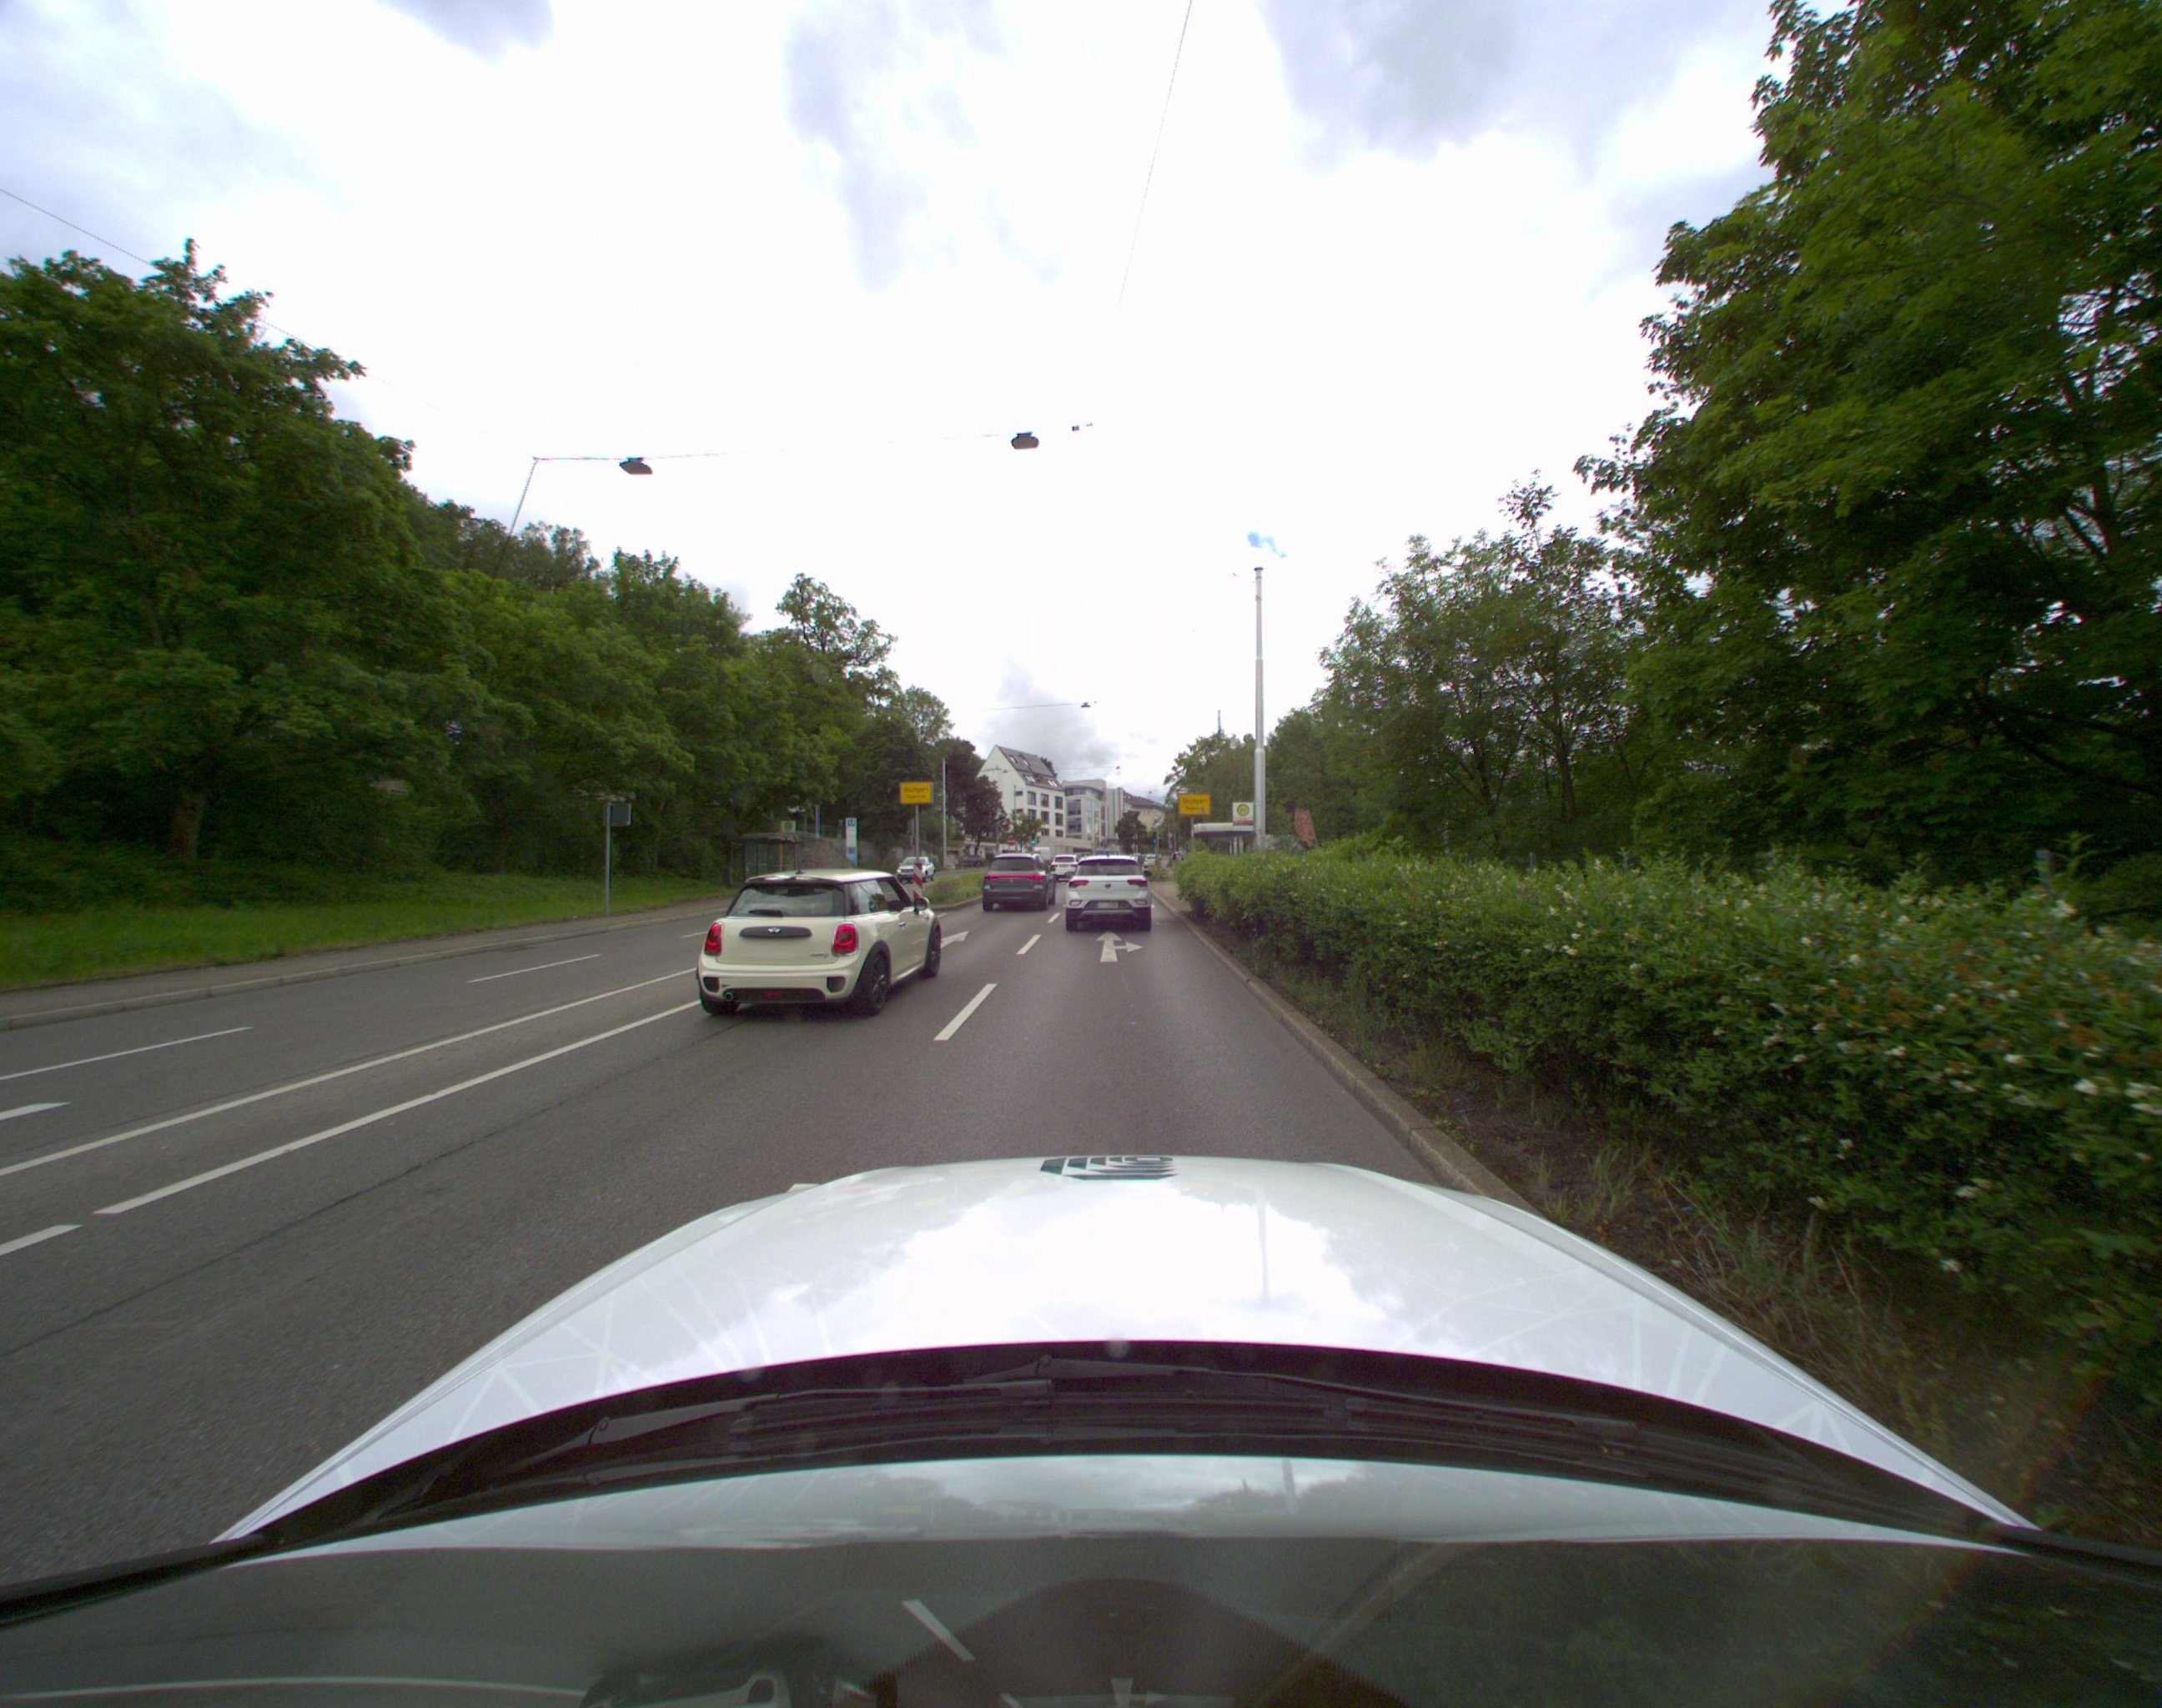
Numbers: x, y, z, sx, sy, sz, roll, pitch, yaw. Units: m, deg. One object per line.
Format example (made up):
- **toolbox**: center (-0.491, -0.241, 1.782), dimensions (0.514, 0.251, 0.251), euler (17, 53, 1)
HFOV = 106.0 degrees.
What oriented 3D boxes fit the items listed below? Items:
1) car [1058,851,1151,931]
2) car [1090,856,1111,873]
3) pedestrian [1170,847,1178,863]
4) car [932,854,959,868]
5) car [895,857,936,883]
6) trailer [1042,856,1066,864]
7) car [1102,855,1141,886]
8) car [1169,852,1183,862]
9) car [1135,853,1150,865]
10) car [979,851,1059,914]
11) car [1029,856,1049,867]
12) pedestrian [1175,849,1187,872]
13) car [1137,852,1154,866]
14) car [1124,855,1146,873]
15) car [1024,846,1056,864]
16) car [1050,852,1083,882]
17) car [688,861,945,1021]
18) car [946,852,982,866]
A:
- **car**: center (0.494, 0.735, 17.921), dimensions (1.805, 1.539, 3.690), euler (-2, 0, 1)
- **car**: center (1.804, 0.943, 76.437), dimensions (1.851, 1.500, 4.056), euler (-2, 0, 1)
- **pedestrian**: center (10.375, 0.093, 90.886), dimensions (0.695, 1.834, 0.616), euler (1, 0, -18)
- **car**: center (-15.284, 0.825, 91.897), dimensions (2.712, 1.520, 1.553), euler (2, -1, -21)
- **car**: center (-10.087, 0.961, 49.891), dimensions (1.724, 1.541, 4.041), euler (0, 0, -1)
- **trailer**: center (-4.076, 0.974, 125.317), dimensions (2.228, 1.112, 4.644), euler (-1, 0, 18)
- **car**: center (2.050, 0.814, 42.367), dimensions (1.851, 1.500, 4.056), euler (-2, 0, 1)
- **car**: center (16.025, 0.495, 137.426), dimensions (1.846, 1.500, 4.069), euler (-2, 0, 12)
- **car**: center (8.256, 0.673, 109.179), dimensions (1.849, 1.500, 4.060), euler (-2, 0, 4)
- **car**: center (-1.757, 0.785, 24.538), dimensions (1.806, 1.652, 4.638), euler (-2, 0, 2)
- **car**: center (-5.767, 1.028, 111.889), dimensions (1.610, 1.465, 3.942), euler (-1, 0, 14)
- **pedestrian**: center (7.464, 0.493, 61.004), dimensions (0.687, 1.689, 0.623), euler (-3, -2, 24)
- **car**: center (7.488, 0.558, 95.230), dimensions (1.850, 1.500, 4.059), euler (-2, 0, 3)
- **car**: center (4.898, 0.857, 73.120), dimensions (1.864, 1.501, 4.561), euler (2, 0, 5)
- **car**: center (-5.976, 0.108, 119.605), dimensions (2.213, 2.568, 7.457), euler (-1, 0, 18)
- **car**: center (-0.839, 0.769, 49.902), dimensions (1.851, 1.652, 4.636), euler (-2, 0, 1)
- **car**: center (-2.716, 0.809, 9.226), dimensions (1.622, 1.393, 3.567), euler (-2, 0, 2)
- **car**: center (-13.871, 0.558, 96.565), dimensions (4.114, 1.540, 1.595), euler (-1, 0, -6)
